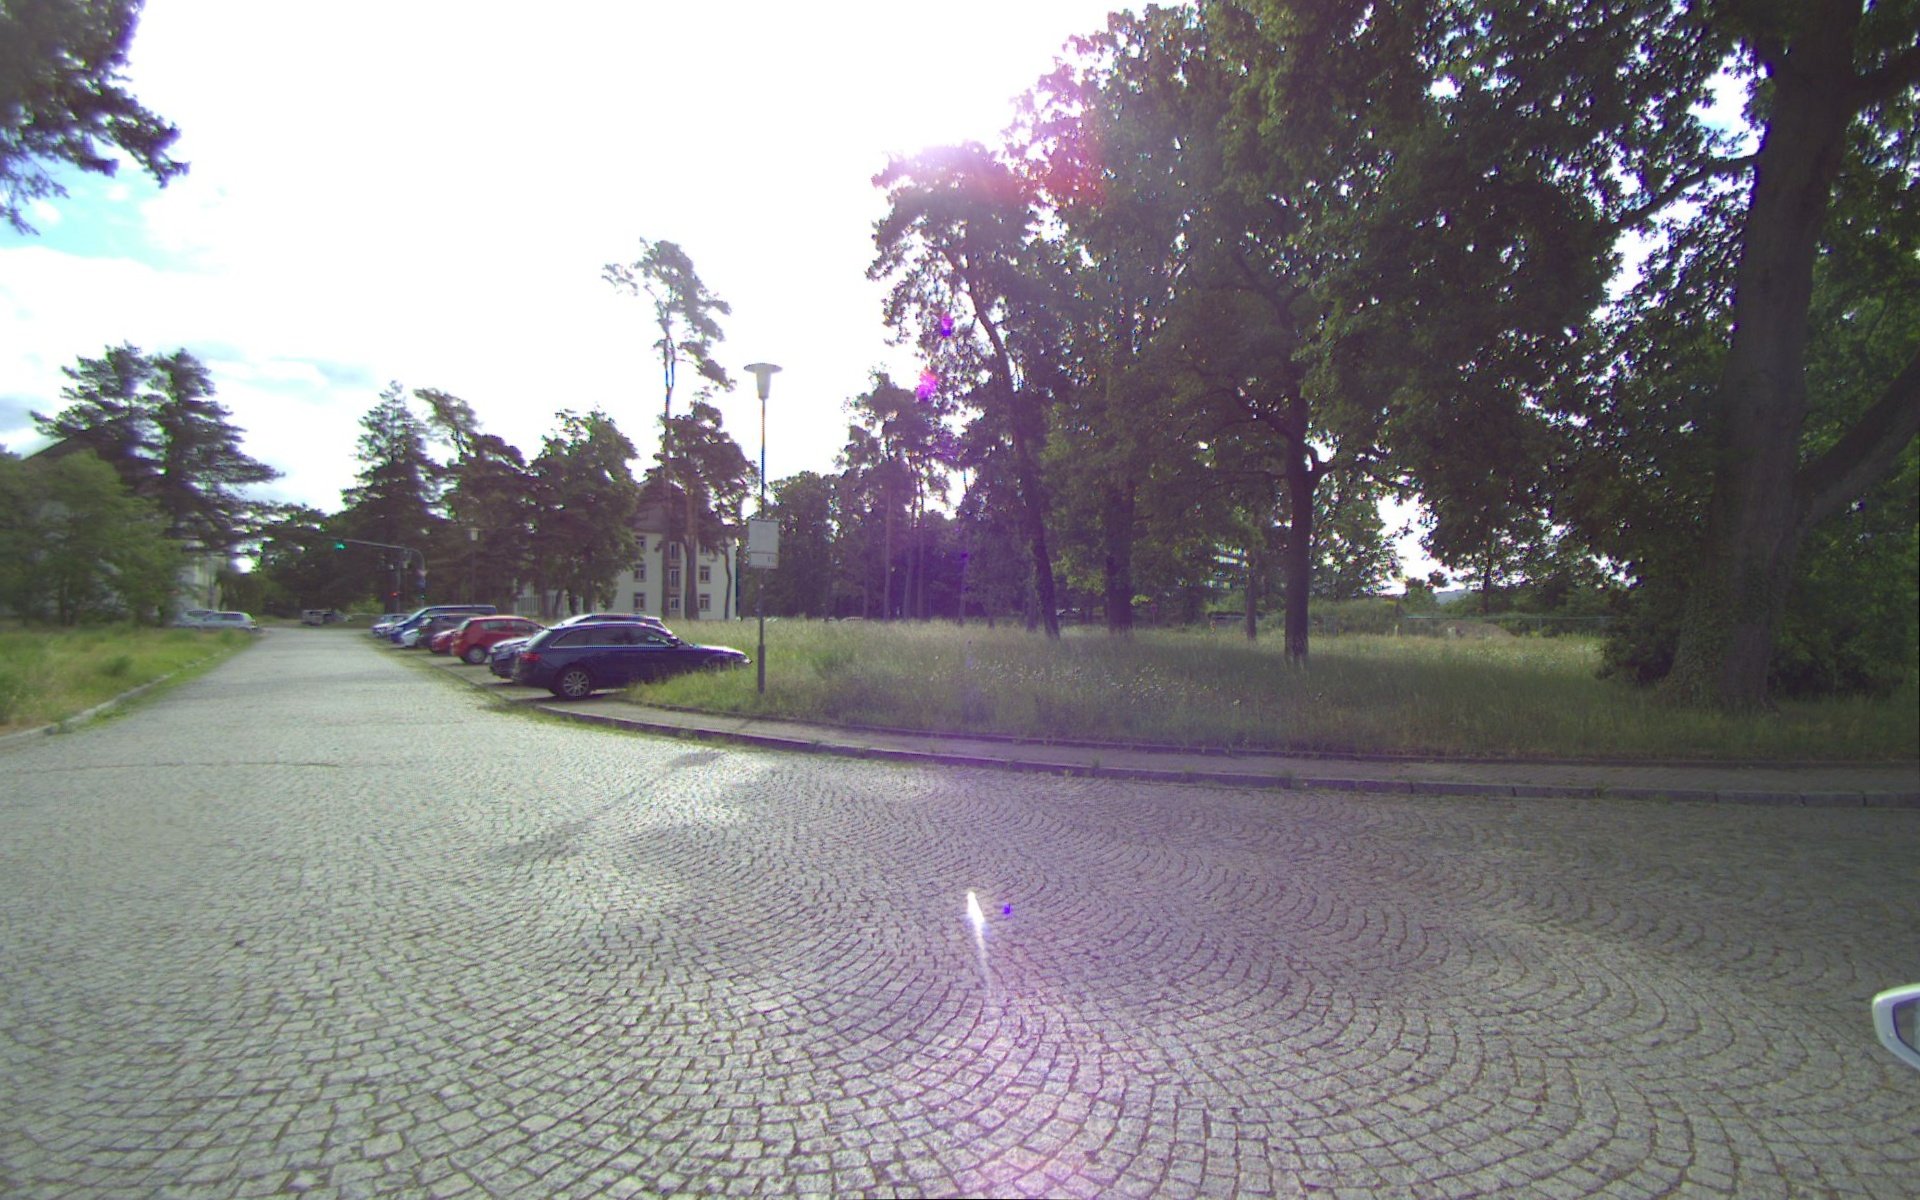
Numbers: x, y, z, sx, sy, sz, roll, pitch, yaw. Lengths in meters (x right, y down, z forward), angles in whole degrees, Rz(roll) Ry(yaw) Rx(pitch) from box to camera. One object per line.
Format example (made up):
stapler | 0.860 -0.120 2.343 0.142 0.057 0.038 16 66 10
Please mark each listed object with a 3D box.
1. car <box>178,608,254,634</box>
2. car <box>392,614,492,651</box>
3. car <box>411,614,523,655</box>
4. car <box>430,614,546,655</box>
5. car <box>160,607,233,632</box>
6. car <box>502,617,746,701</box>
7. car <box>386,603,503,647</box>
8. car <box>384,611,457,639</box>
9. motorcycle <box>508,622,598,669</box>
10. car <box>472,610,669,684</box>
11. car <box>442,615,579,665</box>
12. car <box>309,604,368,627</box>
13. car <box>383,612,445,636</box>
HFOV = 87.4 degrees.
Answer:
car | -45.785 1.251 61.884 3.697 1.457 1.609 -1 1 -37
car | -23.906 1.465 46.393 3.893 1.411 1.726 -2 2 -35
car | -20.205 1.399 41.187 3.881 1.625 1.803 1 -1 -36
car | -18.411 1.328 39.218 3.912 1.540 1.692 0 -1 -34
car | -49.826 1.269 65.567 3.702 1.457 1.607 -2 1 -41
car | -6.643 1.096 19.992 4.393 1.499 1.669 0 -1 -30
car | -24.965 1.160 48.688 4.788 1.891 2.140 -2 2 -35
car | -32.267 1.486 60.135 3.544 1.435 1.619 -3 2 -41
motorcycle | -11.828 1.311 29.216 2.338 1.305 0.737 0 -1 -33
car | -9.265 1.062 24.001 4.109 1.594 1.773 0 0 -35
car | -14.548 1.242 32.553 3.856 1.498 1.656 0 0 -34
car | -75.941 1.881 122.751 5.748 2.597 2.739 -3 2 -39
car | -37.348 1.598 68.763 3.430 1.451 1.607 -3 2 -43
